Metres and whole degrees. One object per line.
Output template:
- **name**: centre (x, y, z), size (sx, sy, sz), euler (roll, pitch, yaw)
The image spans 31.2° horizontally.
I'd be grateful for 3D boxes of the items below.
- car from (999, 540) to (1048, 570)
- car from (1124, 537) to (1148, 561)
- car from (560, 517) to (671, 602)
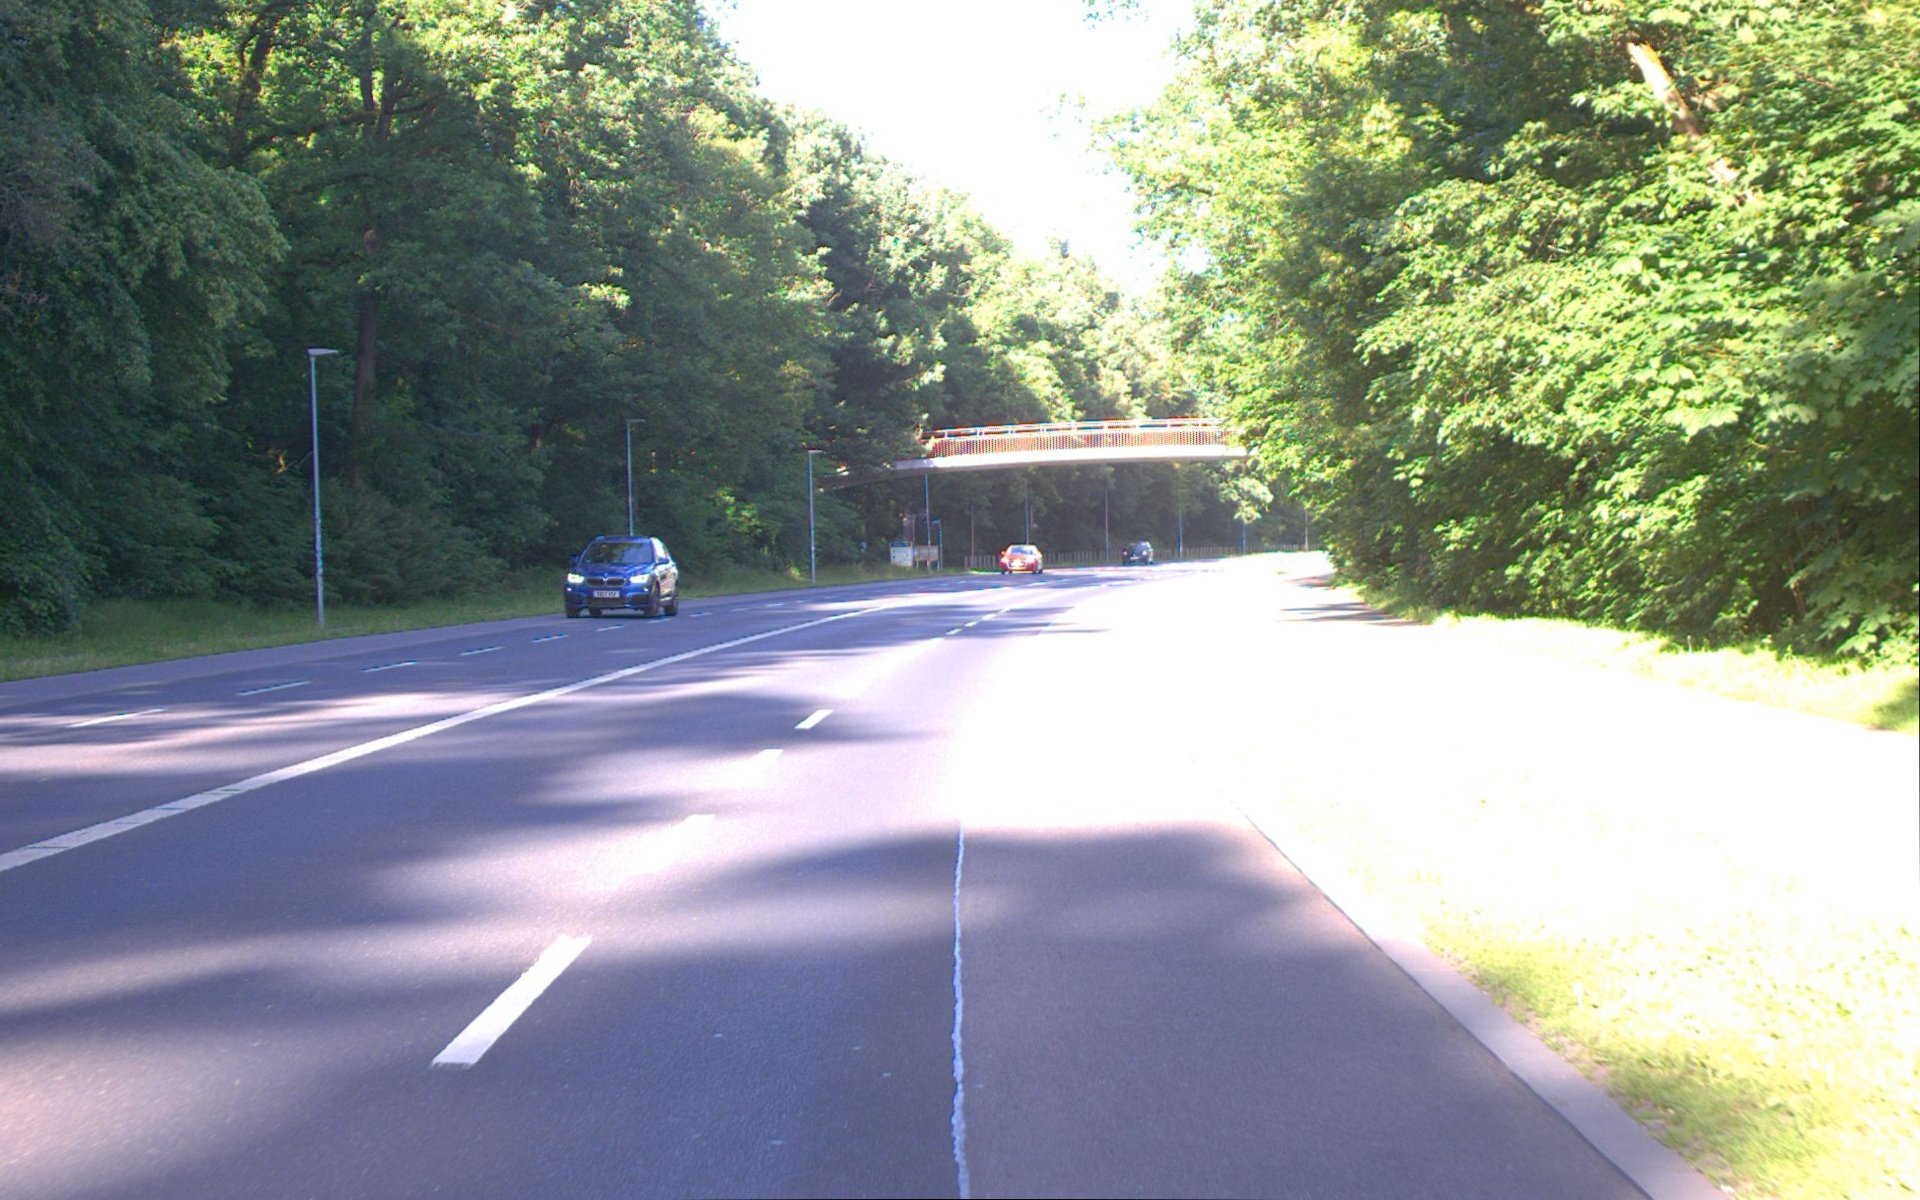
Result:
- **car**: centre (3.102, -2.191, 166.565), size (1.710, 1.418, 4.128), euler (0, 1, 11)
- **car**: centre (11.031, -3.209, 215.363), size (1.495, 1.439, 3.500), euler (0, 1, 4)
- **car**: centre (-6.942, -0.831, 69.626), size (1.807, 1.657, 4.522), euler (0, 1, 0)
